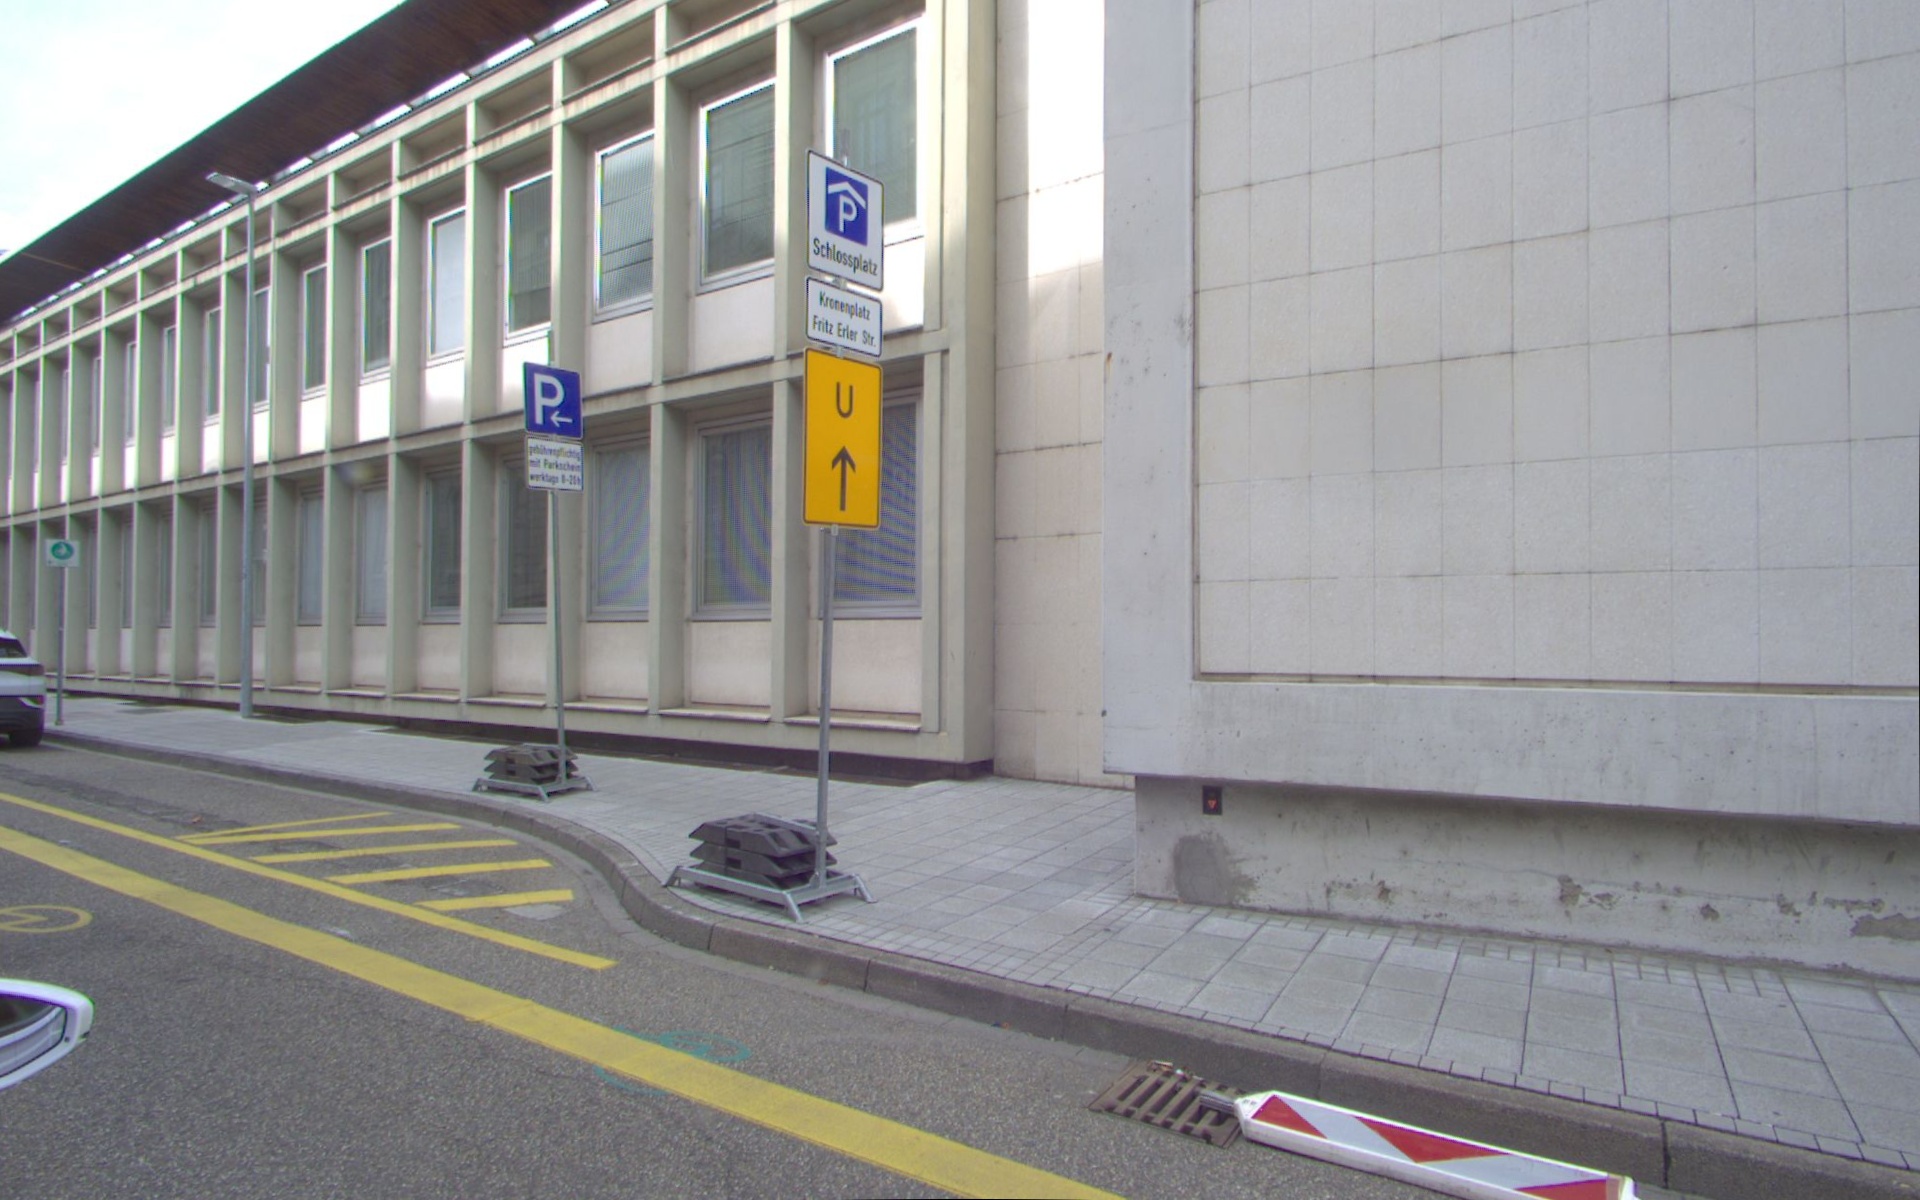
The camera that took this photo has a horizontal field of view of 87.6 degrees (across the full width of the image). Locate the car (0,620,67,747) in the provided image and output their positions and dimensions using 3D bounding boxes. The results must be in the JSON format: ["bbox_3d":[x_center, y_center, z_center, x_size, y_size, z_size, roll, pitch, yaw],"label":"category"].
[{"bbox_3d":[-14.380,1.098,13.960,4.452,1.624,1.857,-1,-5,35],"label":"car"}]
